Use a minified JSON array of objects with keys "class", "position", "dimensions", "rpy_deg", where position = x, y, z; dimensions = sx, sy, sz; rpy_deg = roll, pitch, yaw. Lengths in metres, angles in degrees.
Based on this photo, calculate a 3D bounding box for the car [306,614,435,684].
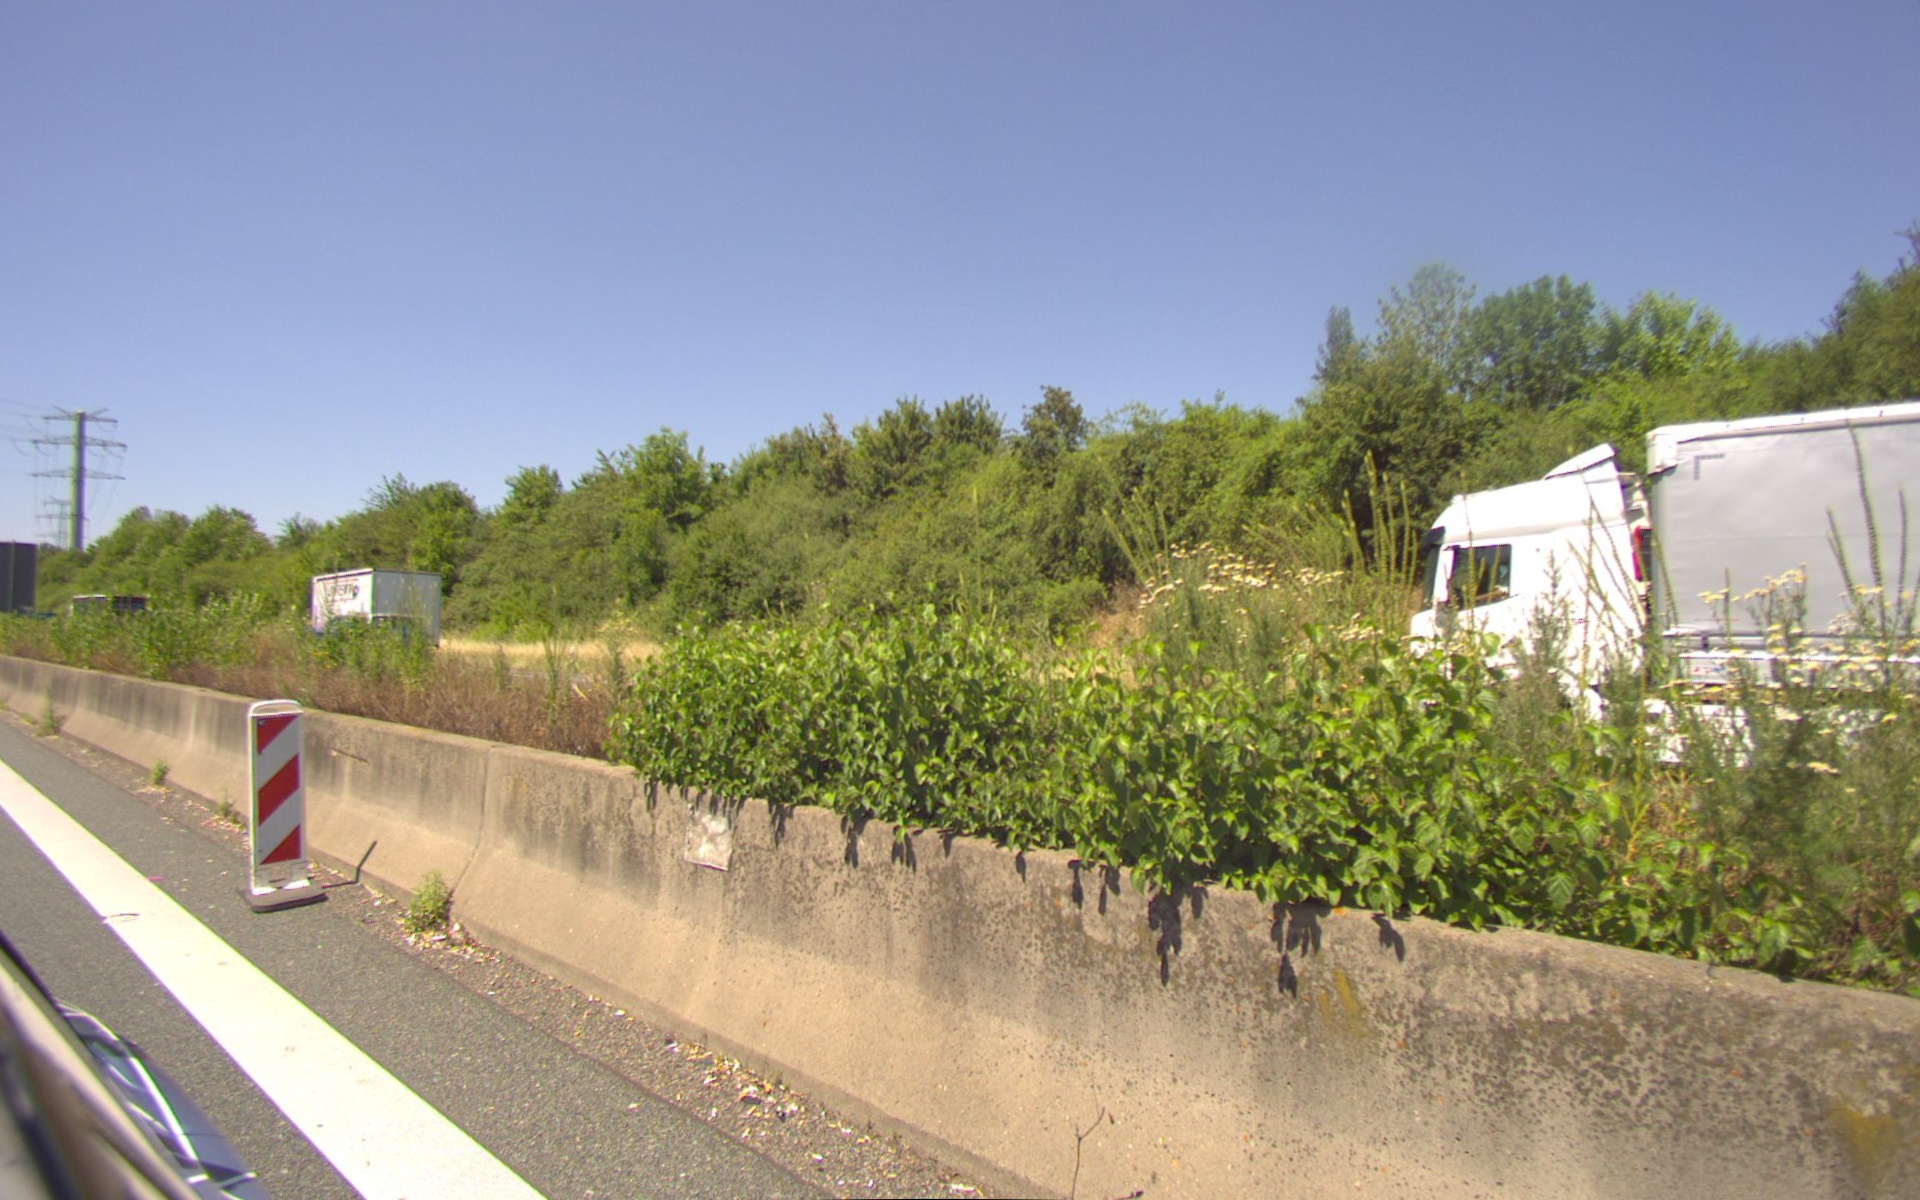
[{"class":"car","position":[-17.644,1.444,30.199],"dimensions":[4.427,1.903,1.919],"rpy_deg":[-1,-5,41]}]

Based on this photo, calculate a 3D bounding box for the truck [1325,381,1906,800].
[{"class":"truck","position":[8.201,0.031,13.164],"dimensions":[5.803,4.199,2.984],"rpy_deg":[-1,-5,42]}]

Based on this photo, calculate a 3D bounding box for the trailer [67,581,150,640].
[{"class":"trailer","position":[-67.553,0.919,80.084],"dimensions":[14.190,4.199,2.724],"rpy_deg":[-1,-5,41]}]

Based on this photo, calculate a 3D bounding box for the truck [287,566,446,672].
[{"class":"truck","position":[-24.613,0.850,41.727],"dimensions":[9.025,3.918,2.733],"rpy_deg":[-1,-5,41]}]

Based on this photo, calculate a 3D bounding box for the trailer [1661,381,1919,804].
[{"class":"trailer","position":[14.132,-0.072,7.872],"dimensions":[14.015,4.199,2.984],"rpy_deg":[-1,-5,42]}]

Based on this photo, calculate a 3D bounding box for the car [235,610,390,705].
[{"class":"car","position":[-14.268,1.239,22.227],"dimensions":[4.108,1.903,1.694],"rpy_deg":[-1,-5,41]}]
